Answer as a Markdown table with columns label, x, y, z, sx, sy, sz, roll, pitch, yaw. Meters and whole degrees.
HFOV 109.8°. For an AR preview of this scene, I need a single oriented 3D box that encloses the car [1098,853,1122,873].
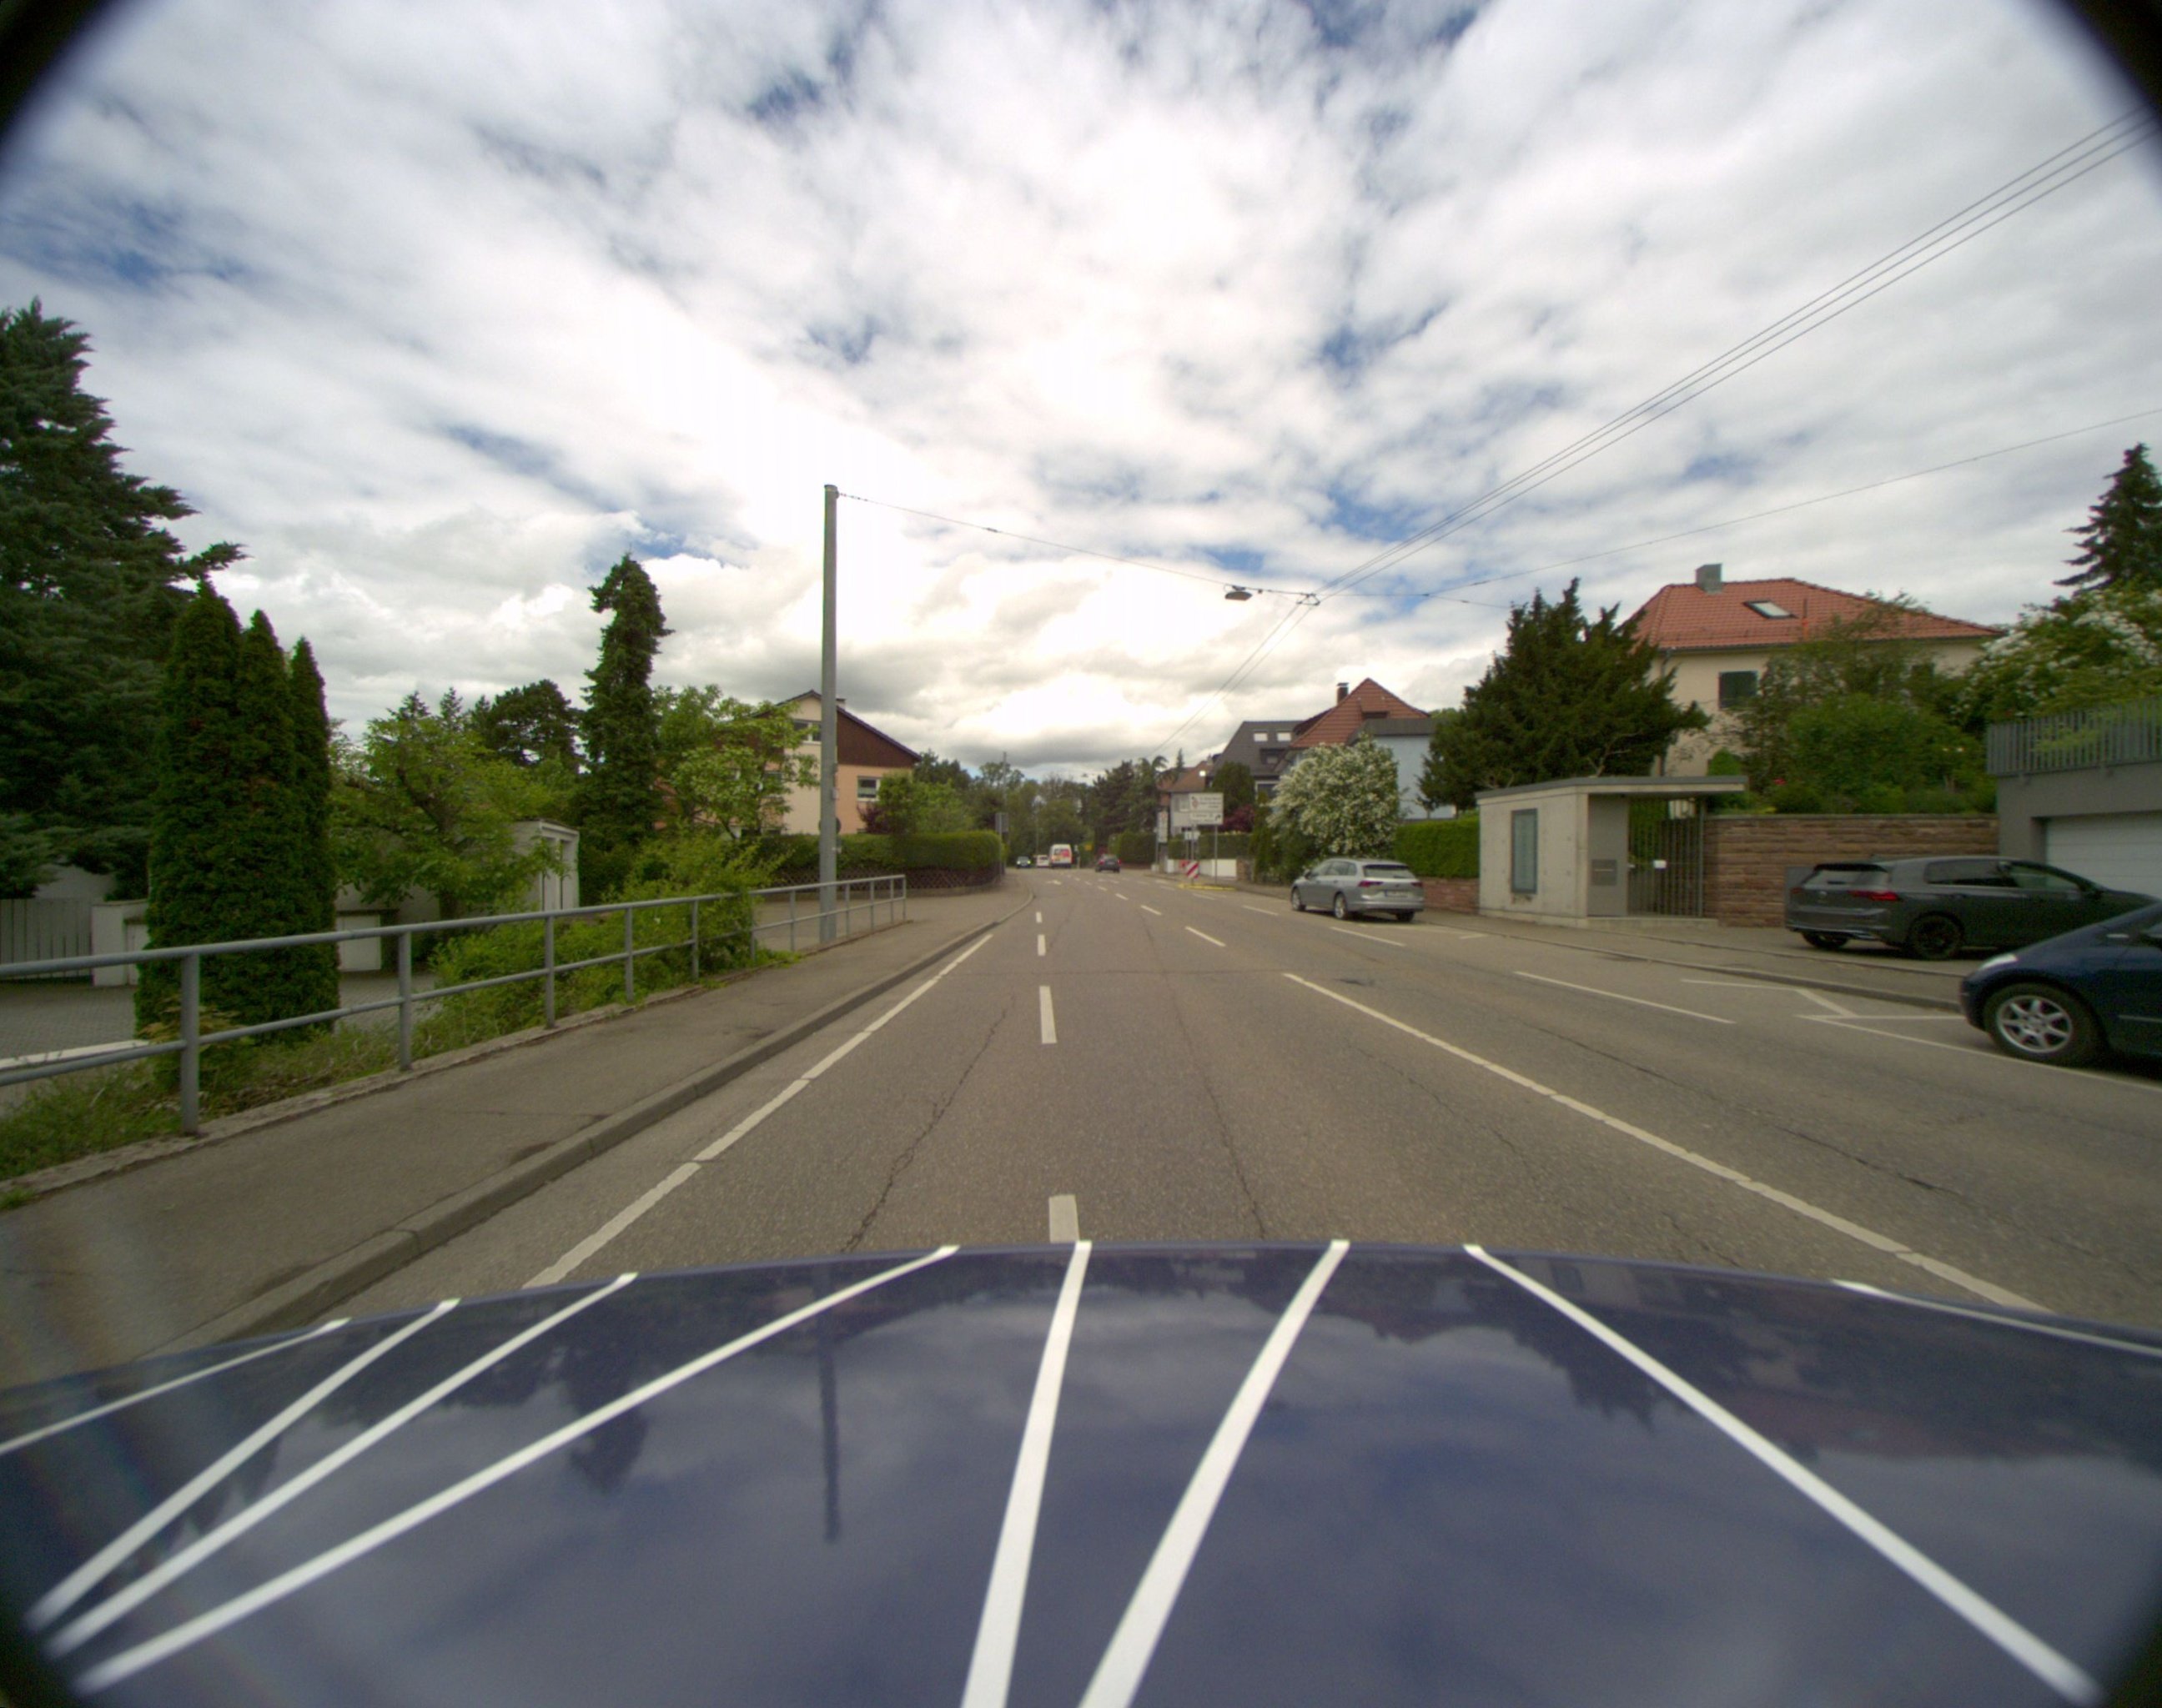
| label | x | y | z | sx | sy | sz | roll | pitch | yaw |
| --- | --- | --- | --- | --- | --- | --- | --- | --- | --- |
| car | 2.344 | 0.690 | 61.765 | 1.738 | 1.544 | 4.447 | 0 | 0 | 0 |

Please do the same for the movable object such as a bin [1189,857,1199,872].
| label | x | y | z | sx | sy | sz | roll | pitch | yaw |
| --- | --- | --- | --- | --- | --- | --- | --- | --- | --- |
| movable object such as a bin | 7.248 | 0.696 | 48.795 | 0.509 | 0.967 | 0.540 | 0 | 1 | -2 |

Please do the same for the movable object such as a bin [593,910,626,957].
| label | x | y | z | sx | sy | sz | roll | pitch | yaw |
| --- | --- | --- | --- | --- | --- | --- | --- | --- | --- |
| movable object such as a bin | -10.834 | 1.817 | 17.482 | 0.541 | 0.969 | 0.508 | -3 | 5 | -25 |

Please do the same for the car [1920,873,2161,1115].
| label | x | y | z | sx | sy | sz | roll | pitch | yaw |
| --- | --- | --- | --- | --- | --- | --- | --- | --- | --- |
| car | 8.014 | 0.968 | 4.405 | 1.684 | 1.547 | 3.969 | 1 | 1 | -5 |

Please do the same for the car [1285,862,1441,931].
| label | x | y | z | sx | sy | sz | roll | pitch | yaw |
| --- | --- | --- | --- | --- | --- | --- | --- | --- | --- |
| car | 6.774 | 0.958 | 18.847 | 1.815 | 1.447 | 4.411 | 1 | 0 | -6 |

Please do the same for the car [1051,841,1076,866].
| label | x | y | z | sx | sy | sz | roll | pitch | yaw |
| --- | --- | --- | --- | --- | --- | --- | --- | --- | --- |
| car | -1.878 | -0.018 | 79.195 | 2.118 | 2.483 | 6.121 | 0 | 0 | -5 |

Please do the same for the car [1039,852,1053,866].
| label | x | y | z | sx | sy | sz | roll | pitch | yaw |
| --- | --- | --- | --- | --- | --- | --- | --- | --- | --- |
| car | -5.283 | 0.817 | 113.960 | 1.864 | 2.035 | 5.169 | 0 | -1 | -6 |

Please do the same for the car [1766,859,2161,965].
| label | x | y | z | sx | sy | sz | roll | pitch | yaw |
| --- | --- | --- | --- | --- | --- | --- | --- | --- | --- |
| car | 12.608 | 0.769 | 11.019 | 3.596 | 1.382 | 1.850 | 0 | 0 | 4 |

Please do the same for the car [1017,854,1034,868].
| label | x | y | z | sx | sy | sz | roll | pitch | yaw |
| --- | --- | --- | --- | --- | --- | --- | --- | --- | --- |
| car | -7.563 | 0.923 | 103.132 | 1.864 | 1.855 | 4.608 | 0 | -1 | -9 |
